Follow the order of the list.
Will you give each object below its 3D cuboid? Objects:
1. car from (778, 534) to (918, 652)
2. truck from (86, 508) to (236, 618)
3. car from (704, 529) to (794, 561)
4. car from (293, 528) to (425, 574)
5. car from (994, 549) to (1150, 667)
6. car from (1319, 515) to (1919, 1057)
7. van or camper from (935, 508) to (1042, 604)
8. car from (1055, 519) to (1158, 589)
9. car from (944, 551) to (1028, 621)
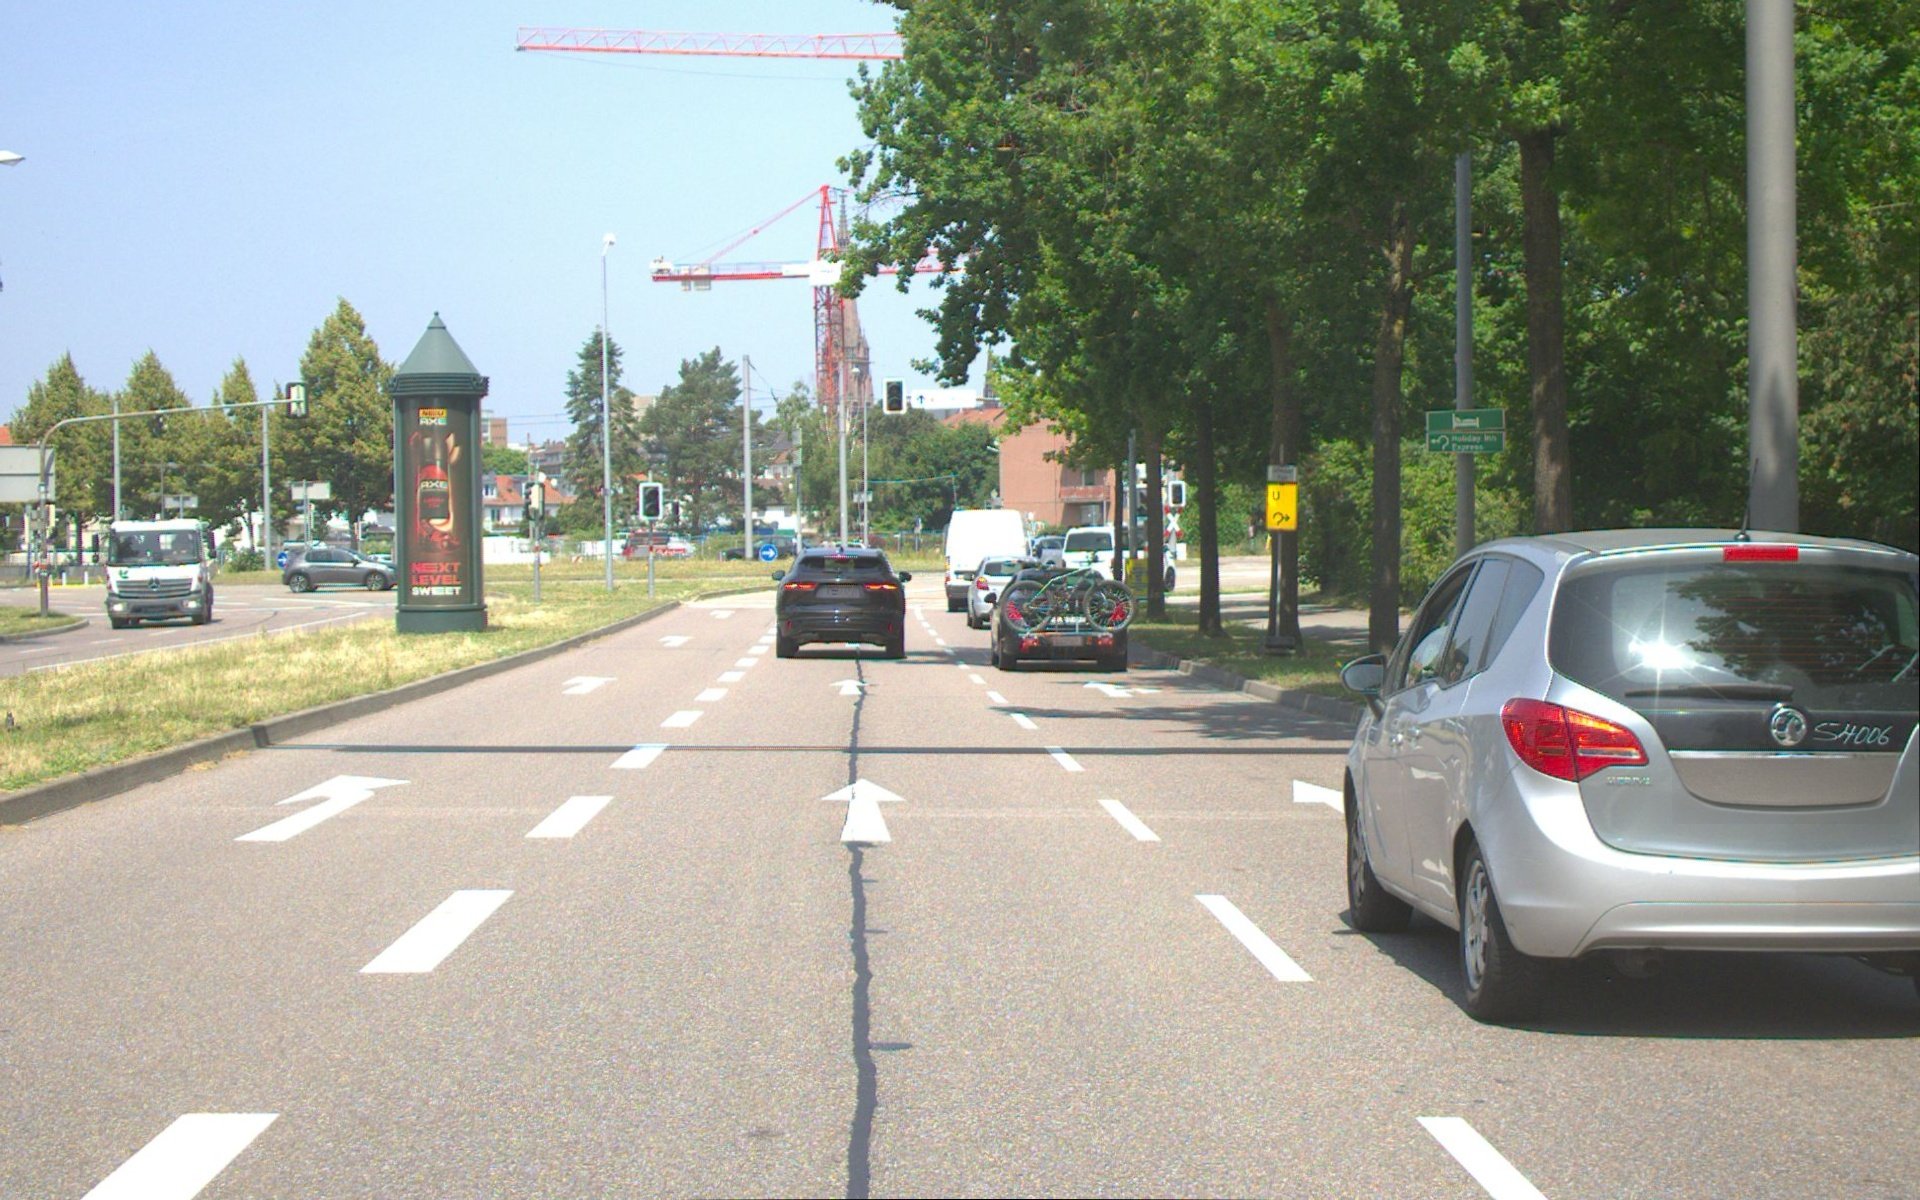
[{"bbox_3d":[-1.662,-0.143,52.257,1.998,1.683,4.034,0,2,0],"label":"car"},{"bbox_3d":[-19.654,-0.931,84.896,2.638,2.568,6.319,-1,1,-4],"label":"truck"},{"bbox_3d":[-10.102,-2.642,164.513,3.988,1.459,2.000,-1,1,6],"label":"car"},{"bbox_3d":[-19.843,-1.632,113.637,3.987,1.448,2.000,-1,1,0],"label":"car"},{"bbox_3d":[1.498,0.073,47.563,2.014,1.512,4.461,-1,1,0],"label":"car"},{"bbox_3d":[2.436,0.515,12.215,1.792,1.606,3.891,0,1,-2],"label":"car"},{"bbox_3d":[0.678,-1.125,85.759,2.493,2.283,4.921,-1,1,-1],"label":"van or camper"},{"bbox_3d":[4.316,-1.360,100.659,1.995,2.007,3.997,-1,1,18],"label":"car"},{"bbox_3d":[0.565,-0.310,71.578,1.654,1.351,4.461,-1,1,1],"label":"car"}]
